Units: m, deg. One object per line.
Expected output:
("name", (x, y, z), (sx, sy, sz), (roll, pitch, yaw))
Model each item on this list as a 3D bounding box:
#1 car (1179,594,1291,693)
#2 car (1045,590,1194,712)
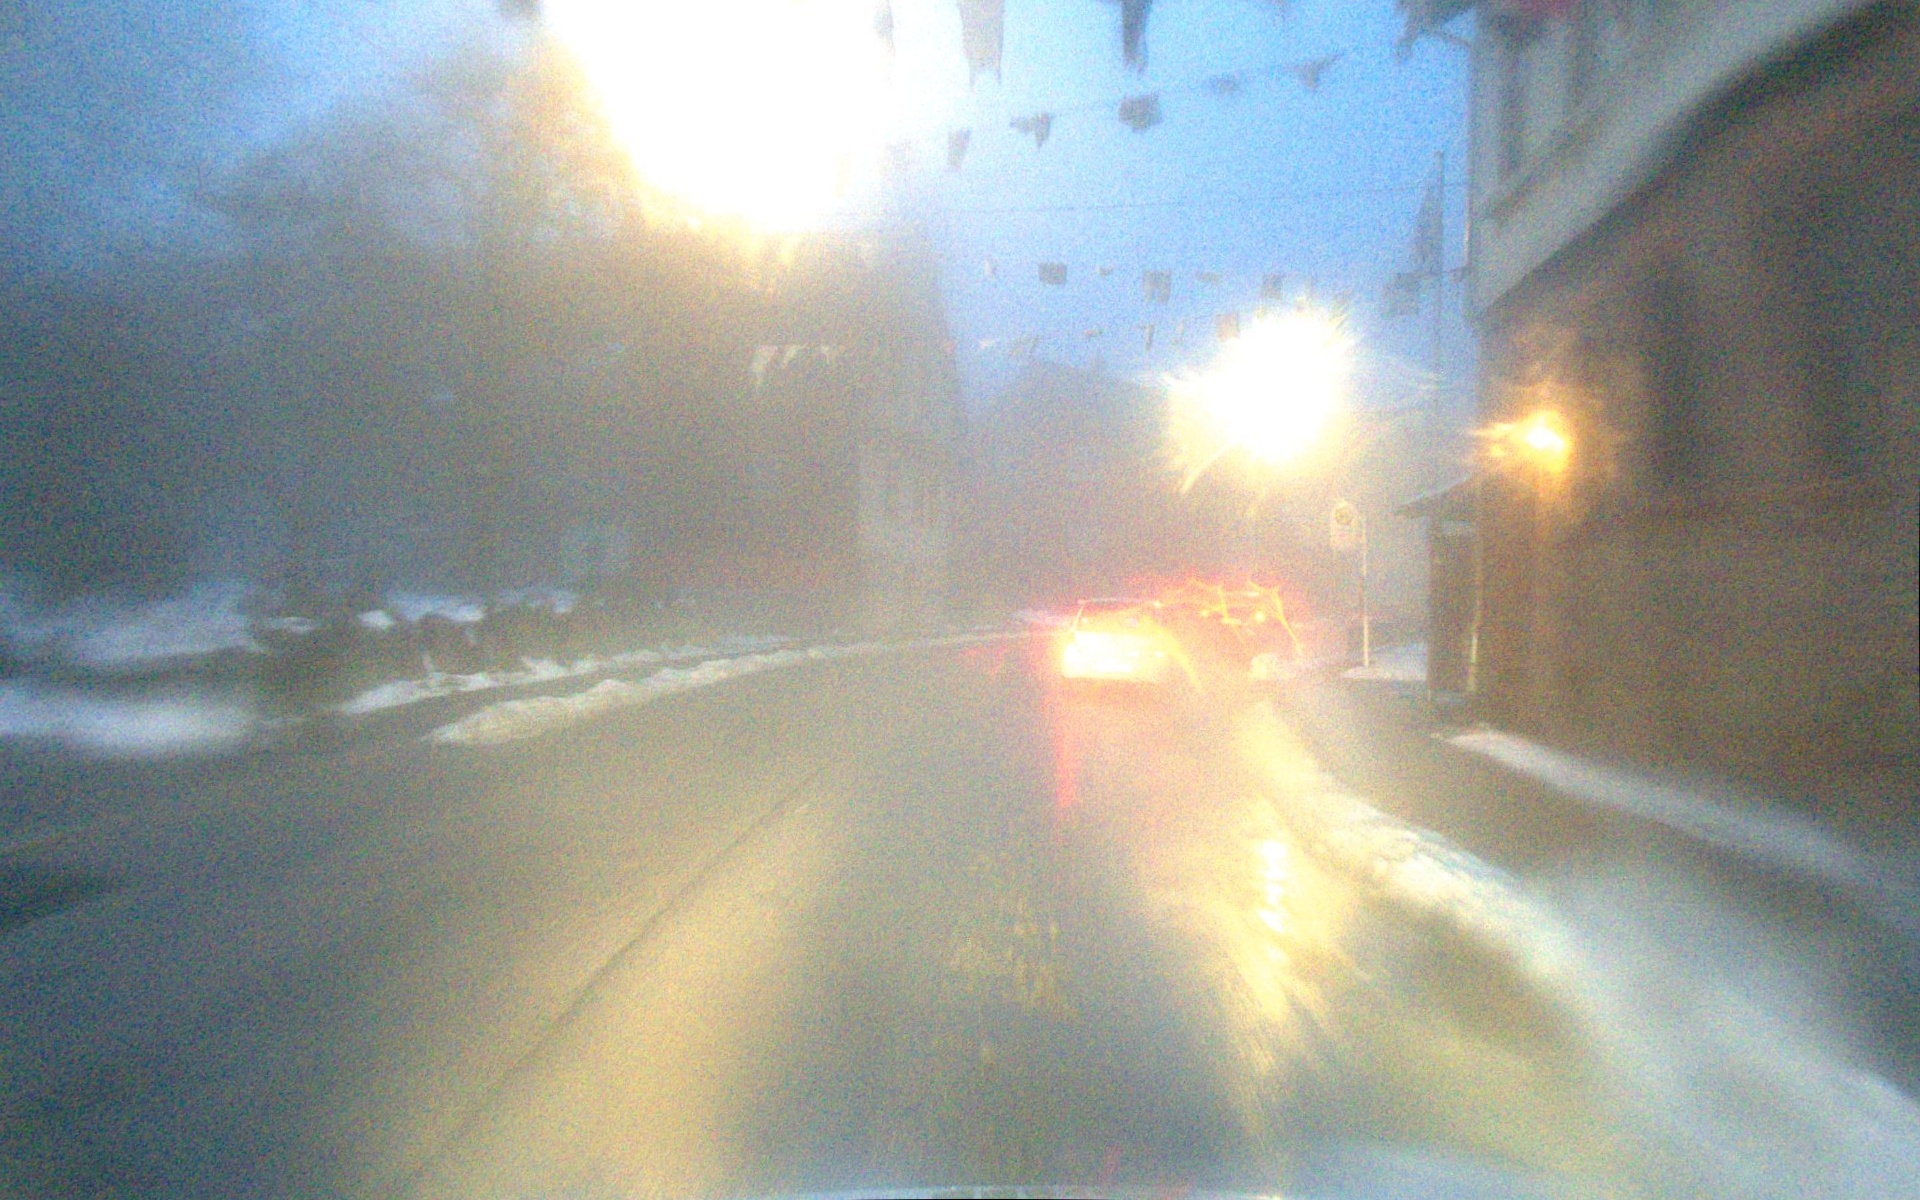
("car", (6.512, 1.075, 38.822), (1.952, 2.049, 4.001), (3, -2, 17))
("car", (2.308, 0.786, 24.796), (1.952, 1.534, 4.001), (4, -2, 3))
